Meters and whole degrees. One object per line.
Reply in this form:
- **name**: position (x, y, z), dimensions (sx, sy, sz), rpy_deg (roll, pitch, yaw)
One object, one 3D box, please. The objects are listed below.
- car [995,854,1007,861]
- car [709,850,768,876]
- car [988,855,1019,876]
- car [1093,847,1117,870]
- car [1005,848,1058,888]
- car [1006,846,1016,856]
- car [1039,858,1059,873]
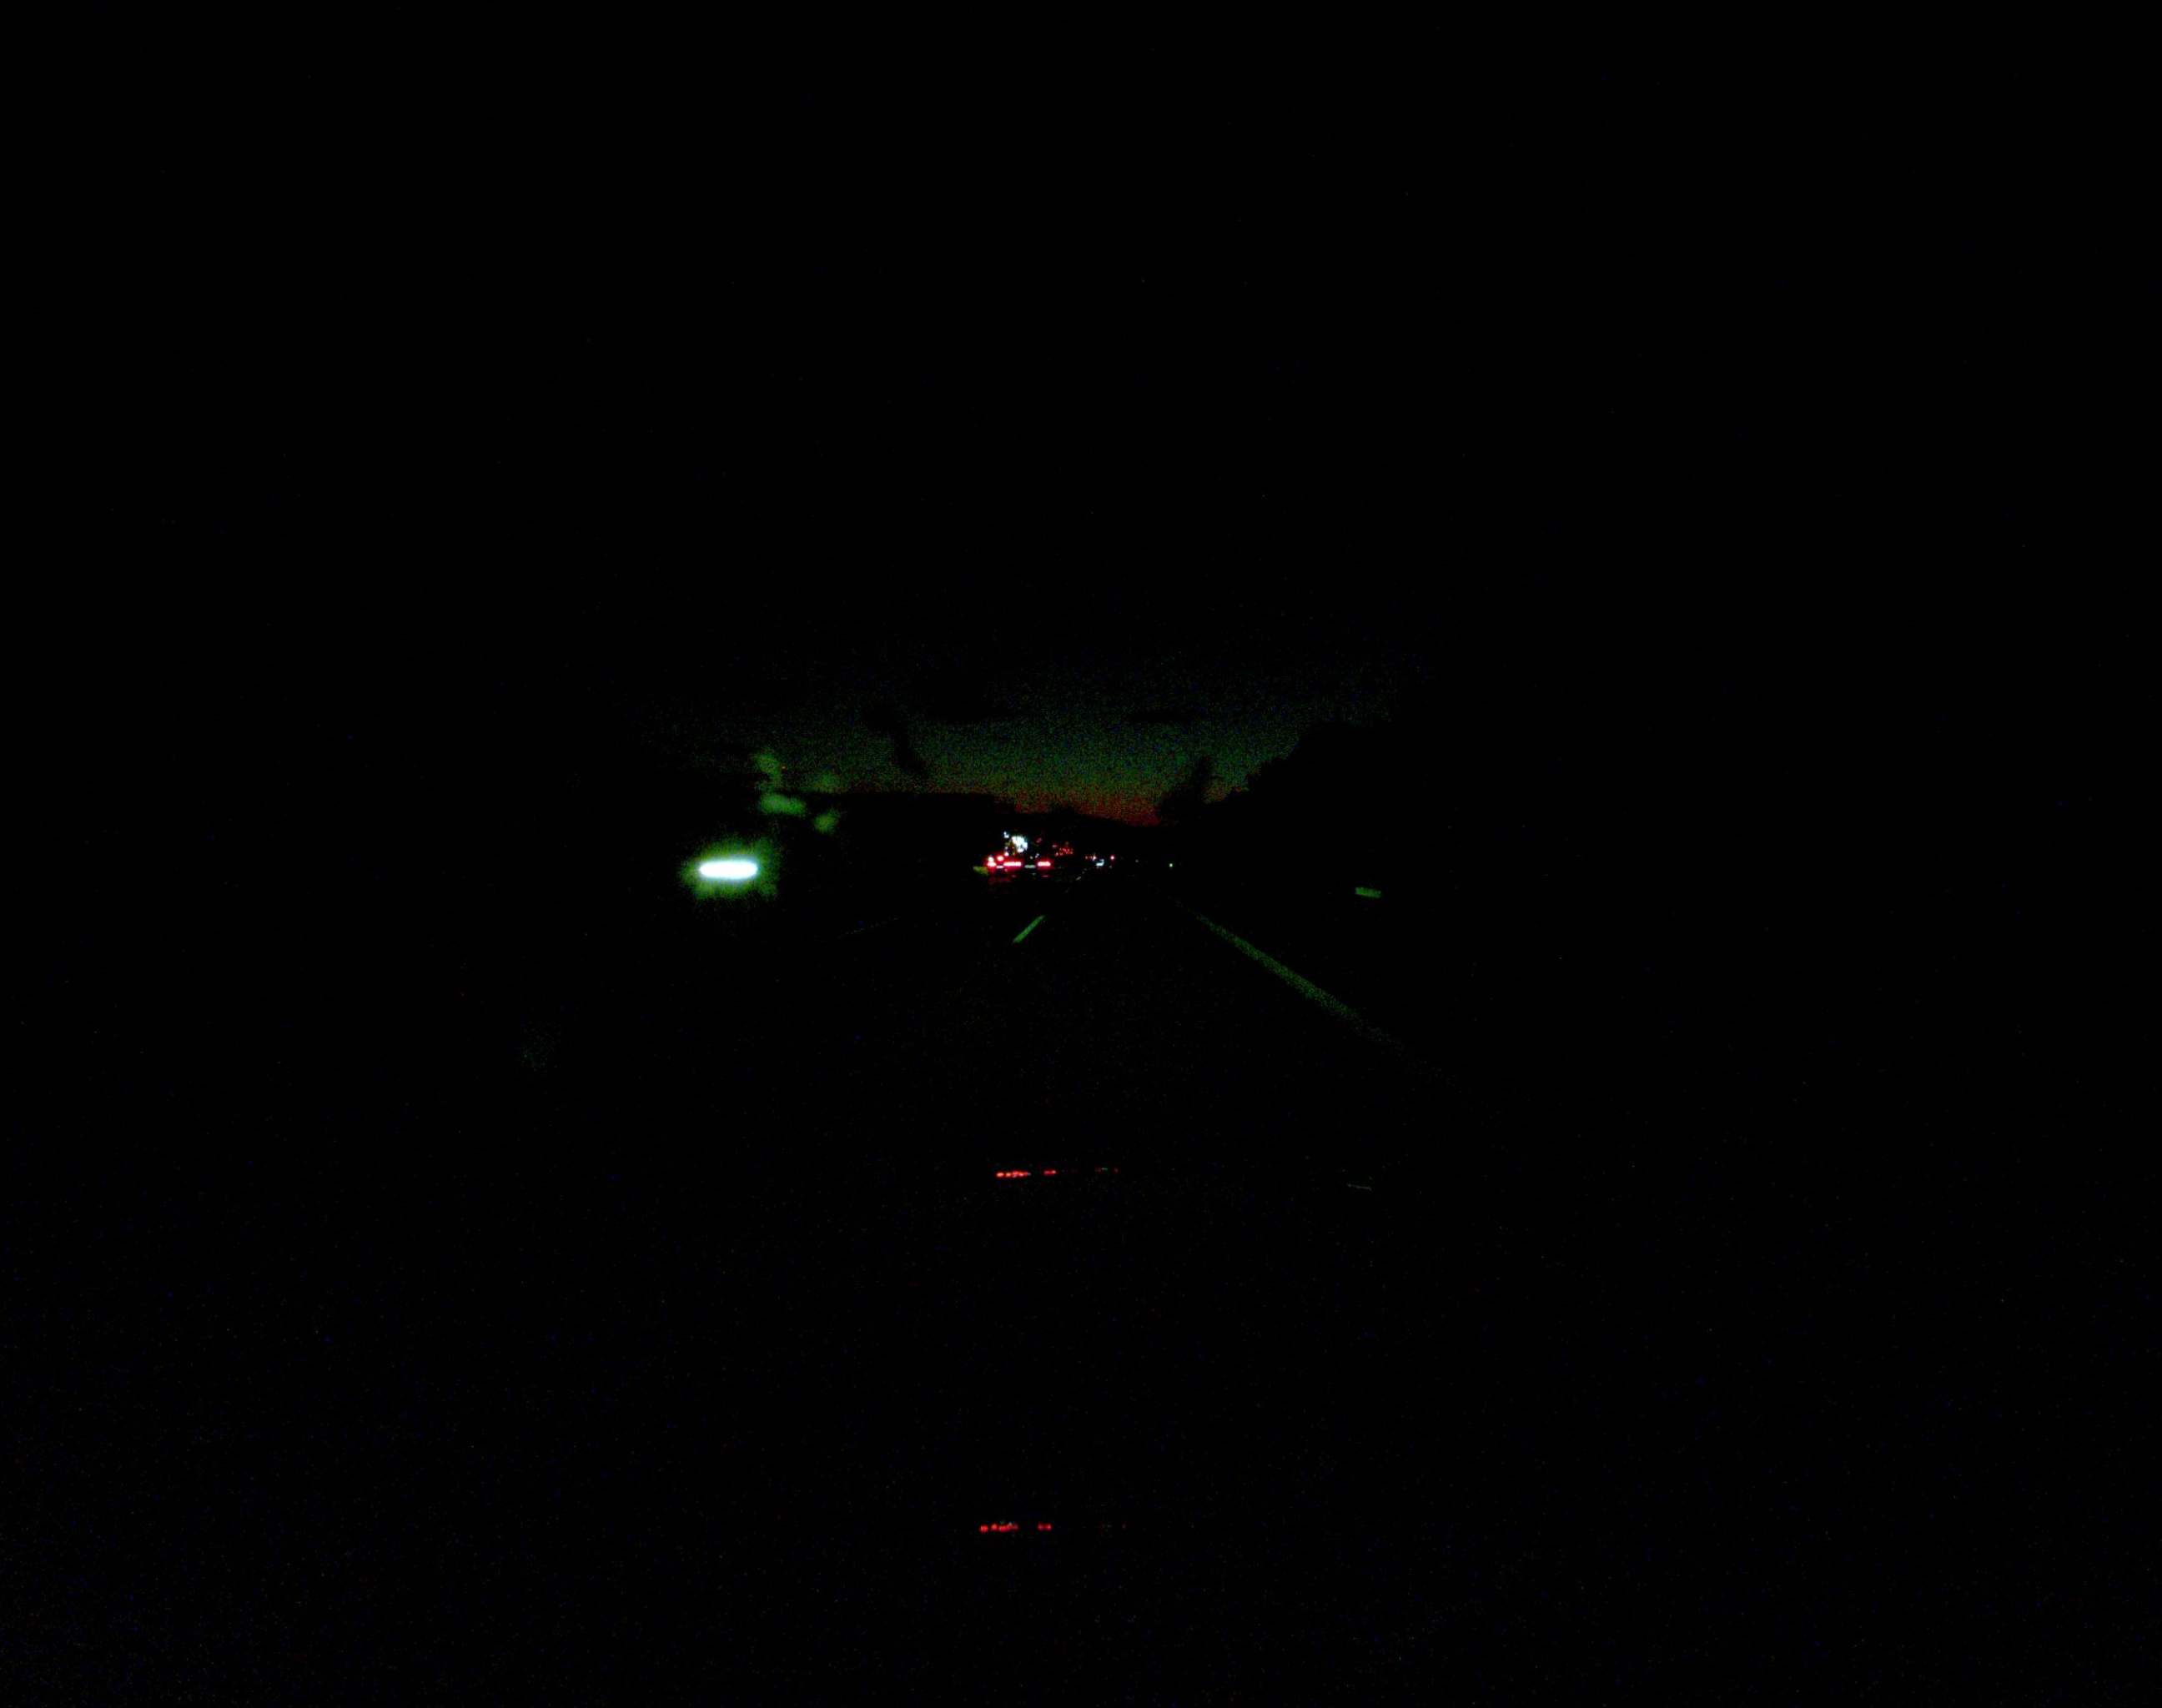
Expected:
- **car**: position (-16.915, 0.775, 172.554), dimensions (1.986, 1.509, 5.186), rpy_deg (0, 0, 1)
- **car**: position (-20.967, 0.541, 50.076), dimensions (1.988, 1.509, 3.998), rpy_deg (0, 0, -1)
- **car**: position (-5.542, 0.813, 58.817), dimensions (1.544, 1.431, 5.516), rpy_deg (-1, 0, 1)
- **car**: position (2.210, 0.396, 76.325), dimensions (2.189, 1.955, 4.764), rpy_deg (-1, 1, 0)
- **car**: position (-2.264, 0.613, 39.056), dimensions (1.986, 1.721, 5.944), rpy_deg (-1, 0, 1)
- **car**: position (-21.176, -0.820, 247.016), dimensions (2.450, 2.936, 8.332), rpy_deg (0, 0, 0)
- **car**: position (-3.582, 1.302, 92.018), dimensions (1.772, 1.486, 5.259), rpy_deg (2, 1, 3)
